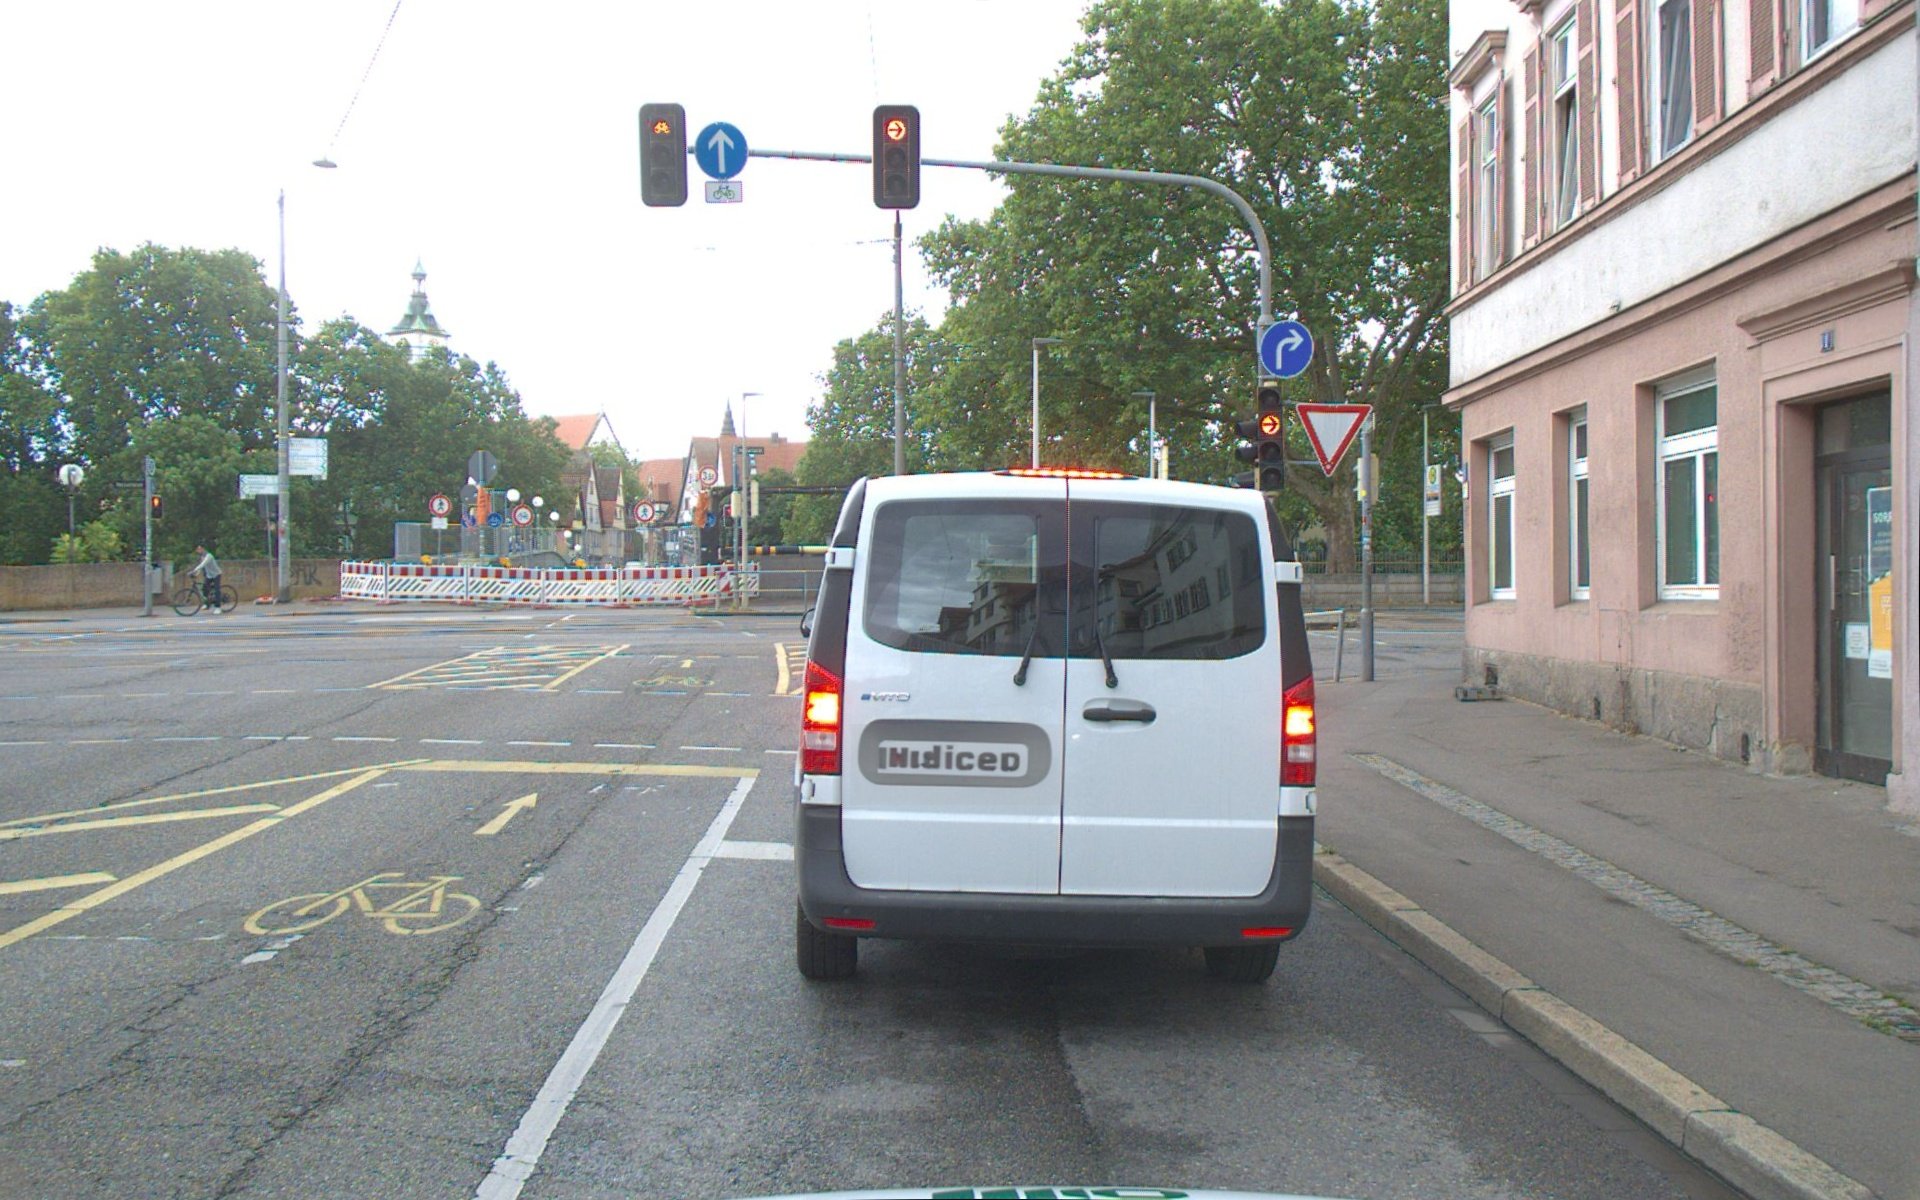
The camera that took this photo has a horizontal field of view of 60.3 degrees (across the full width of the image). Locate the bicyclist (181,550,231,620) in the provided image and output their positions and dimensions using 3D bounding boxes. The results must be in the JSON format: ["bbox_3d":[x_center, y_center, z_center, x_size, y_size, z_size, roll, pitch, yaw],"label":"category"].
[{"bbox_3d":[-19.432,-0.402,42.620,0.996,1.774,0.743,-1,2,-43],"label":"bicyclist"}]

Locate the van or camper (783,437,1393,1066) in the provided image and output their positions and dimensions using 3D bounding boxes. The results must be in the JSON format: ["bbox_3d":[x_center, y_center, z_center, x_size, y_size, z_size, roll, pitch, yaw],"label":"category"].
[{"bbox_3d":[0.267,0.410,7.419,1.899,1.958,4.438,1,2,-4],"label":"van or camper"}]

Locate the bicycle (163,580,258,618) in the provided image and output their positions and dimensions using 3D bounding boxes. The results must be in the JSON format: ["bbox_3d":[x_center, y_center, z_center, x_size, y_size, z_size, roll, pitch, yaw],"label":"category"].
[{"bbox_3d":[-19.347,-0.032,42.711,2.122,0.907,0.748,-2,2,-44],"label":"bicycle"}]
